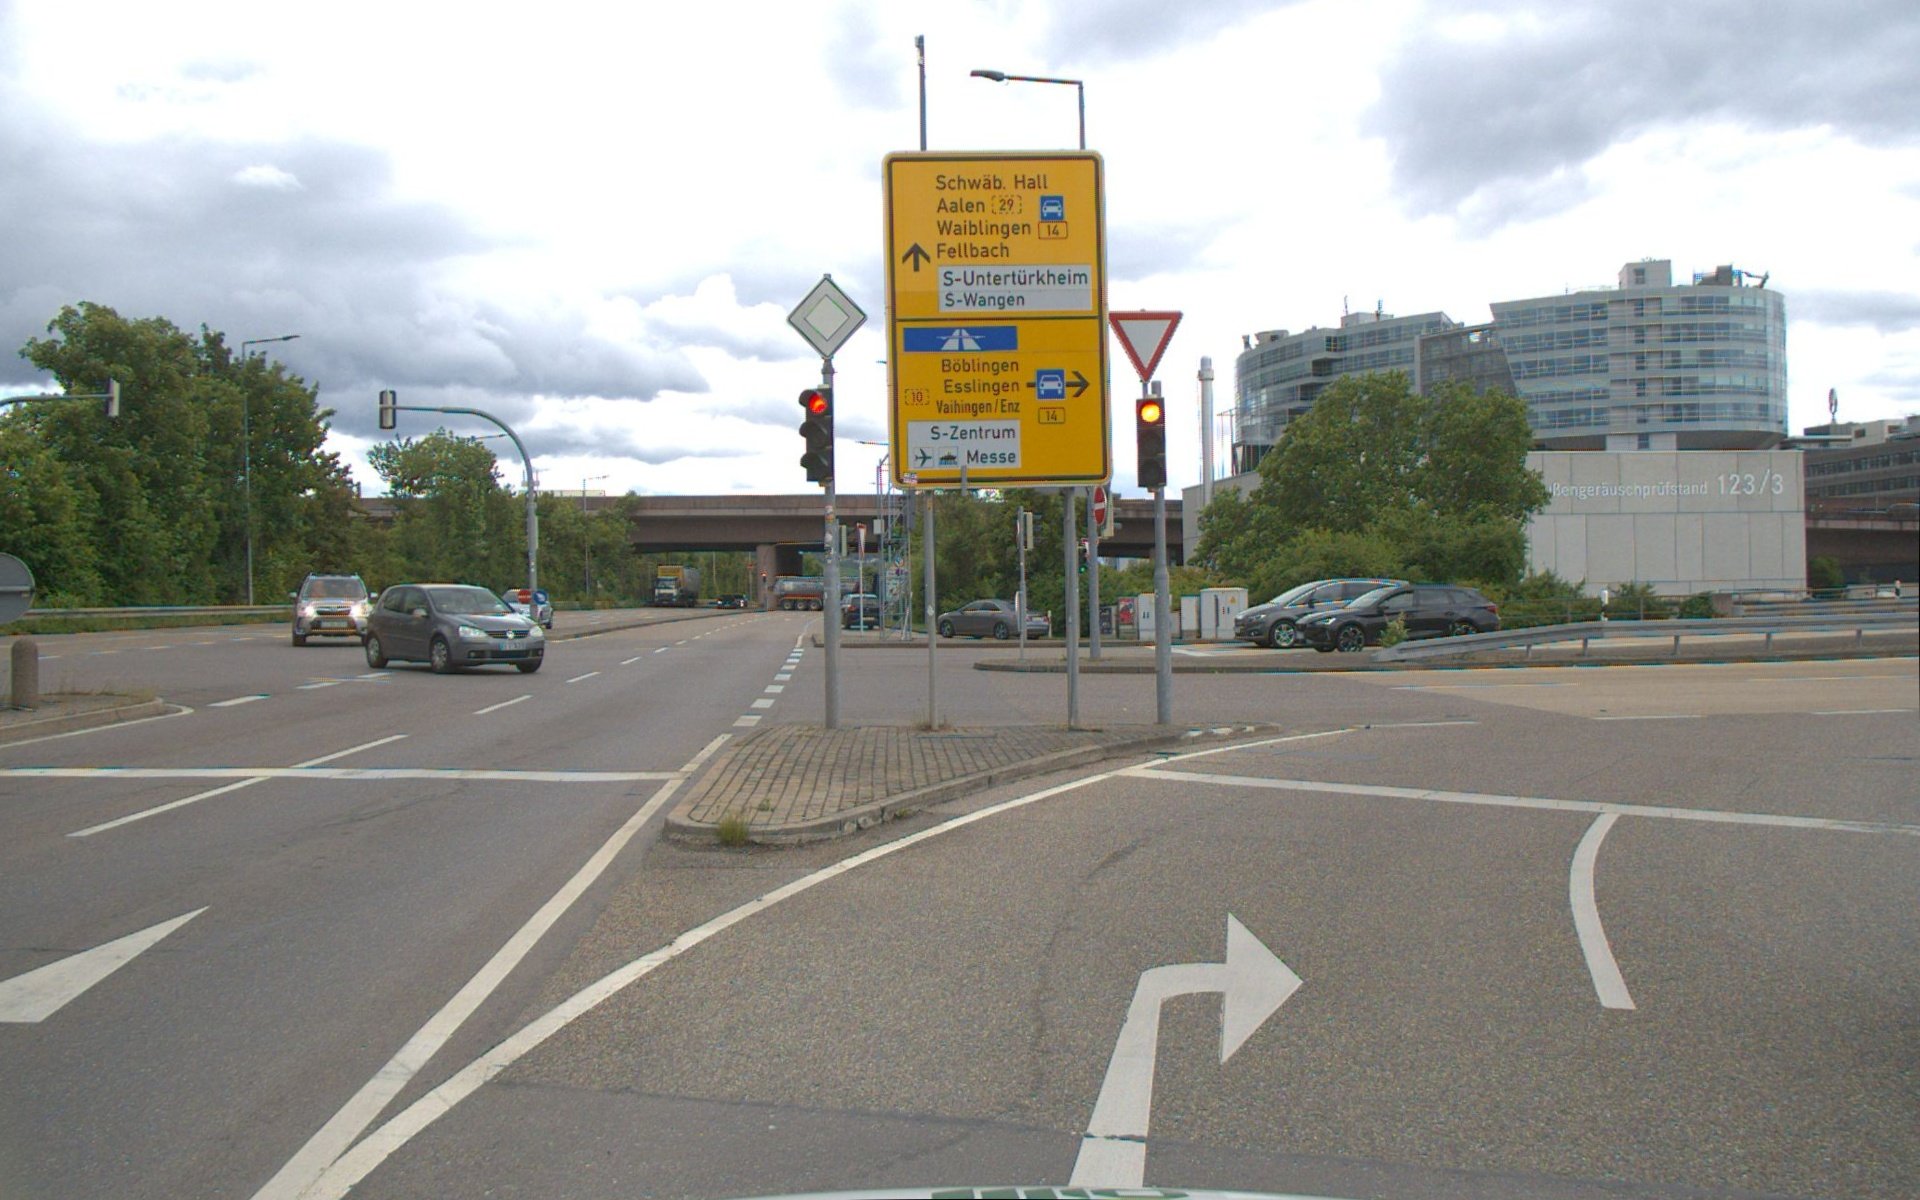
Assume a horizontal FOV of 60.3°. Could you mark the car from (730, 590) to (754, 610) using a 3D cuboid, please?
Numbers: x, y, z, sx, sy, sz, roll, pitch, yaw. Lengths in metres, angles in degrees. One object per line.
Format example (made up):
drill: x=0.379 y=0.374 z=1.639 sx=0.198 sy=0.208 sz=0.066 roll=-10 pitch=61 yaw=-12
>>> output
car: x=-23.026 y=-0.025 z=174.911 sx=1.953 sy=1.892 sz=4.000 roll=3 pitch=1 yaw=-1

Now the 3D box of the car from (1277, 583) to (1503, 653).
car: x=9.561 y=0.377 z=36.955 sx=4.520 sy=1.482 sz=1.952 roll=0 pitch=1 yaw=-9

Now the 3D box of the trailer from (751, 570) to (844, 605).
trailer: x=-15.096 y=-1.188 z=154.179 sx=8.370 sy=2.669 sz=2.609 roll=4 pitch=0 yaw=-2

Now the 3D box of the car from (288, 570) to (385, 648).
car: x=-15.083 y=0.173 z=40.197 sx=1.695 sy=1.767 sz=4.538 roll=-1 pitch=1 yaw=-15

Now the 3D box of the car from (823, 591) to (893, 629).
car: x=-4.305 y=0.435 z=69.386 sx=1.963 sy=1.490 sz=4.088 roll=1 pitch=-2 yaw=-18

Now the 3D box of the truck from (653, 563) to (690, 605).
truck: x=-29.496 y=-1.672 z=169.262 sx=2.814 sy=4.155 sz=6.485 roll=2 pitch=1 yaw=-2

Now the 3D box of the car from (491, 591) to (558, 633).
car: x=-15.923 y=0.424 z=60.629 sx=1.691 sy=1.425 sz=4.062 roll=-1 pitch=1 yaw=-6

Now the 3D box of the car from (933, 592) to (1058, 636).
car: x=1.212 y=0.500 z=57.477 sx=4.037 sy=1.467 sz=1.988 roll=-1 pitch=-2 yaw=42

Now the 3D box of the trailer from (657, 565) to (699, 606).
trailer: x=-29.710 y=-1.578 z=174.606 sx=2.814 sy=4.155 sz=11.422 roll=2 pitch=1 yaw=-2

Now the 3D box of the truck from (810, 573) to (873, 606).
truck: x=-11.067 y=-0.959 z=154.493 sx=5.648 sy=2.669 sz=2.619 roll=4 pitch=0 yaw=-4

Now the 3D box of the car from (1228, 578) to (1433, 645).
car: x=9.131 y=0.257 z=40.982 sx=4.589 sy=1.599 sz=1.953 roll=0 pitch=1 yaw=-7

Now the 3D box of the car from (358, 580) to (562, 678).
car: x=-8.604 y=0.451 z=28.248 sx=1.715 sy=1.487 sz=4.179 roll=1 pitch=0 yaw=-42
